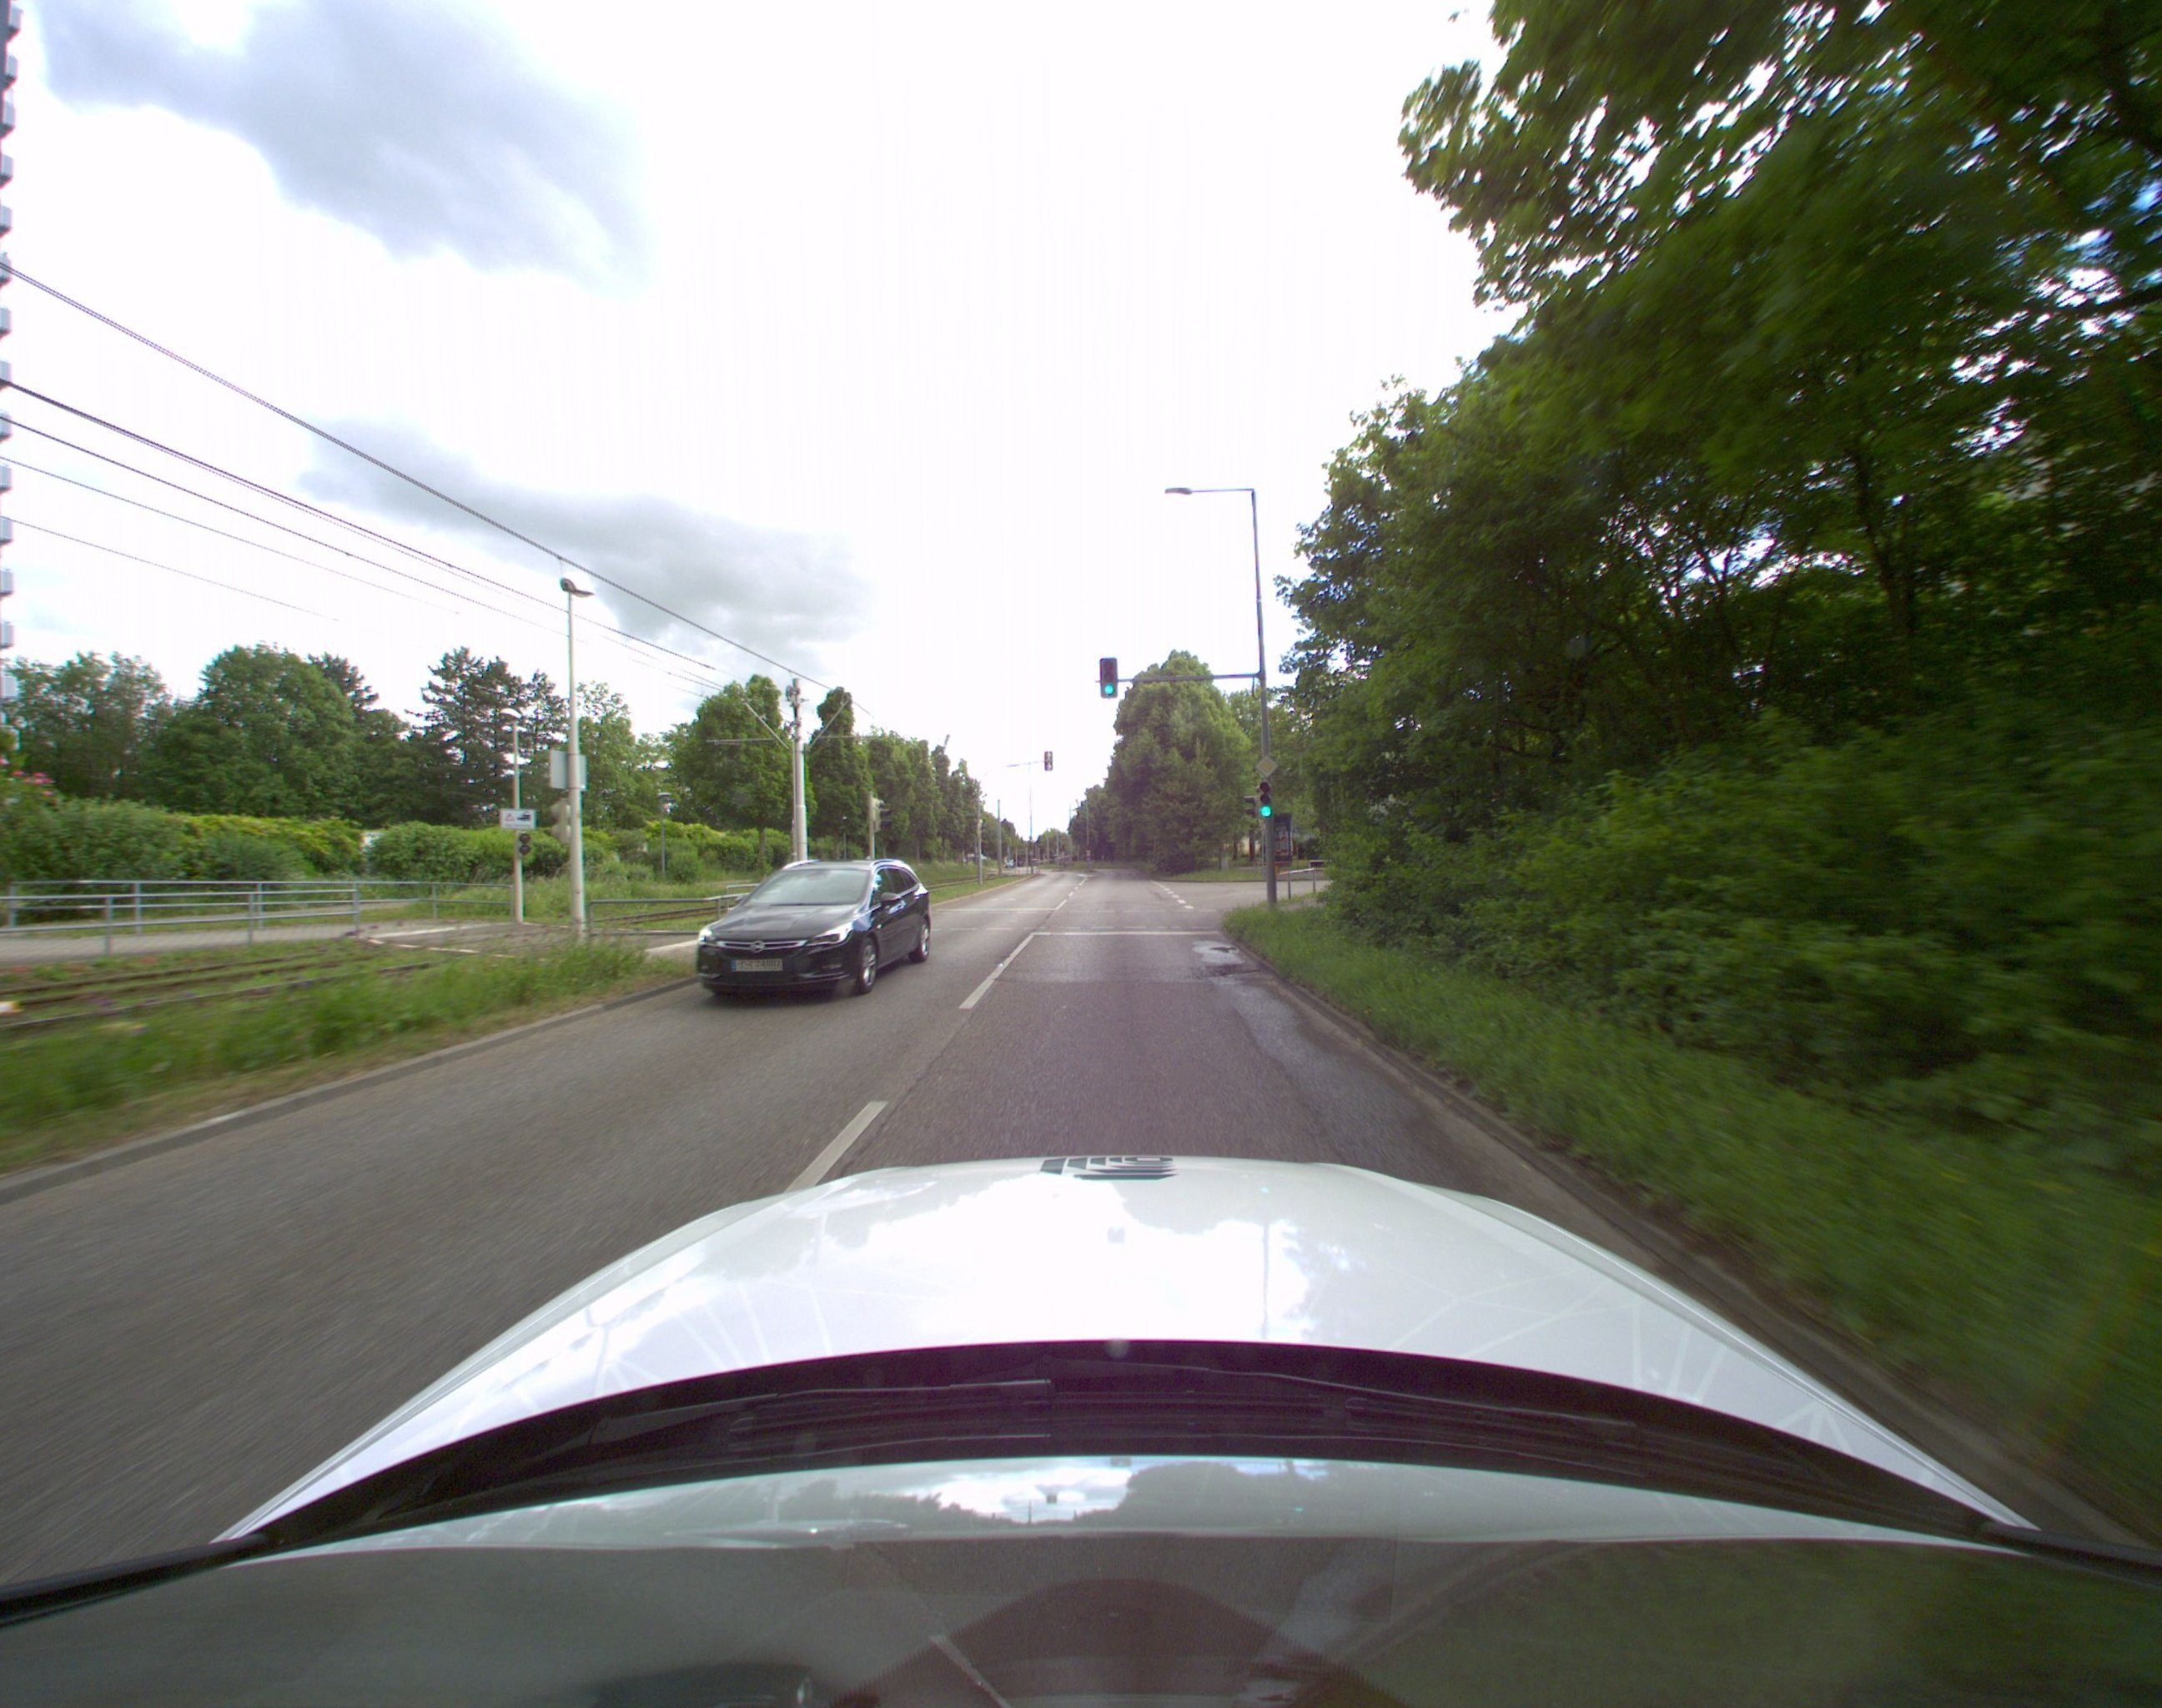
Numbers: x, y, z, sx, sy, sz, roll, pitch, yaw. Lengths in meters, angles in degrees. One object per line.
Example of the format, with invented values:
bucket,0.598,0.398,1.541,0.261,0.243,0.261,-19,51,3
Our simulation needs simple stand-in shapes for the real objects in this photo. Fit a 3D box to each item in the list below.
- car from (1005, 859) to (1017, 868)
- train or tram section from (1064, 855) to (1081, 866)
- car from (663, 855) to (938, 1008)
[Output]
car,-13.395,1.816,155.386,1.861,1.521,4.238,-1,0,0
train or tram section,-2.834,2.033,252.660,3.002,3.311,34.652,-1,-1,-4
car,-3.175,0.779,10.258,1.843,1.470,4.258,-1,0,2
